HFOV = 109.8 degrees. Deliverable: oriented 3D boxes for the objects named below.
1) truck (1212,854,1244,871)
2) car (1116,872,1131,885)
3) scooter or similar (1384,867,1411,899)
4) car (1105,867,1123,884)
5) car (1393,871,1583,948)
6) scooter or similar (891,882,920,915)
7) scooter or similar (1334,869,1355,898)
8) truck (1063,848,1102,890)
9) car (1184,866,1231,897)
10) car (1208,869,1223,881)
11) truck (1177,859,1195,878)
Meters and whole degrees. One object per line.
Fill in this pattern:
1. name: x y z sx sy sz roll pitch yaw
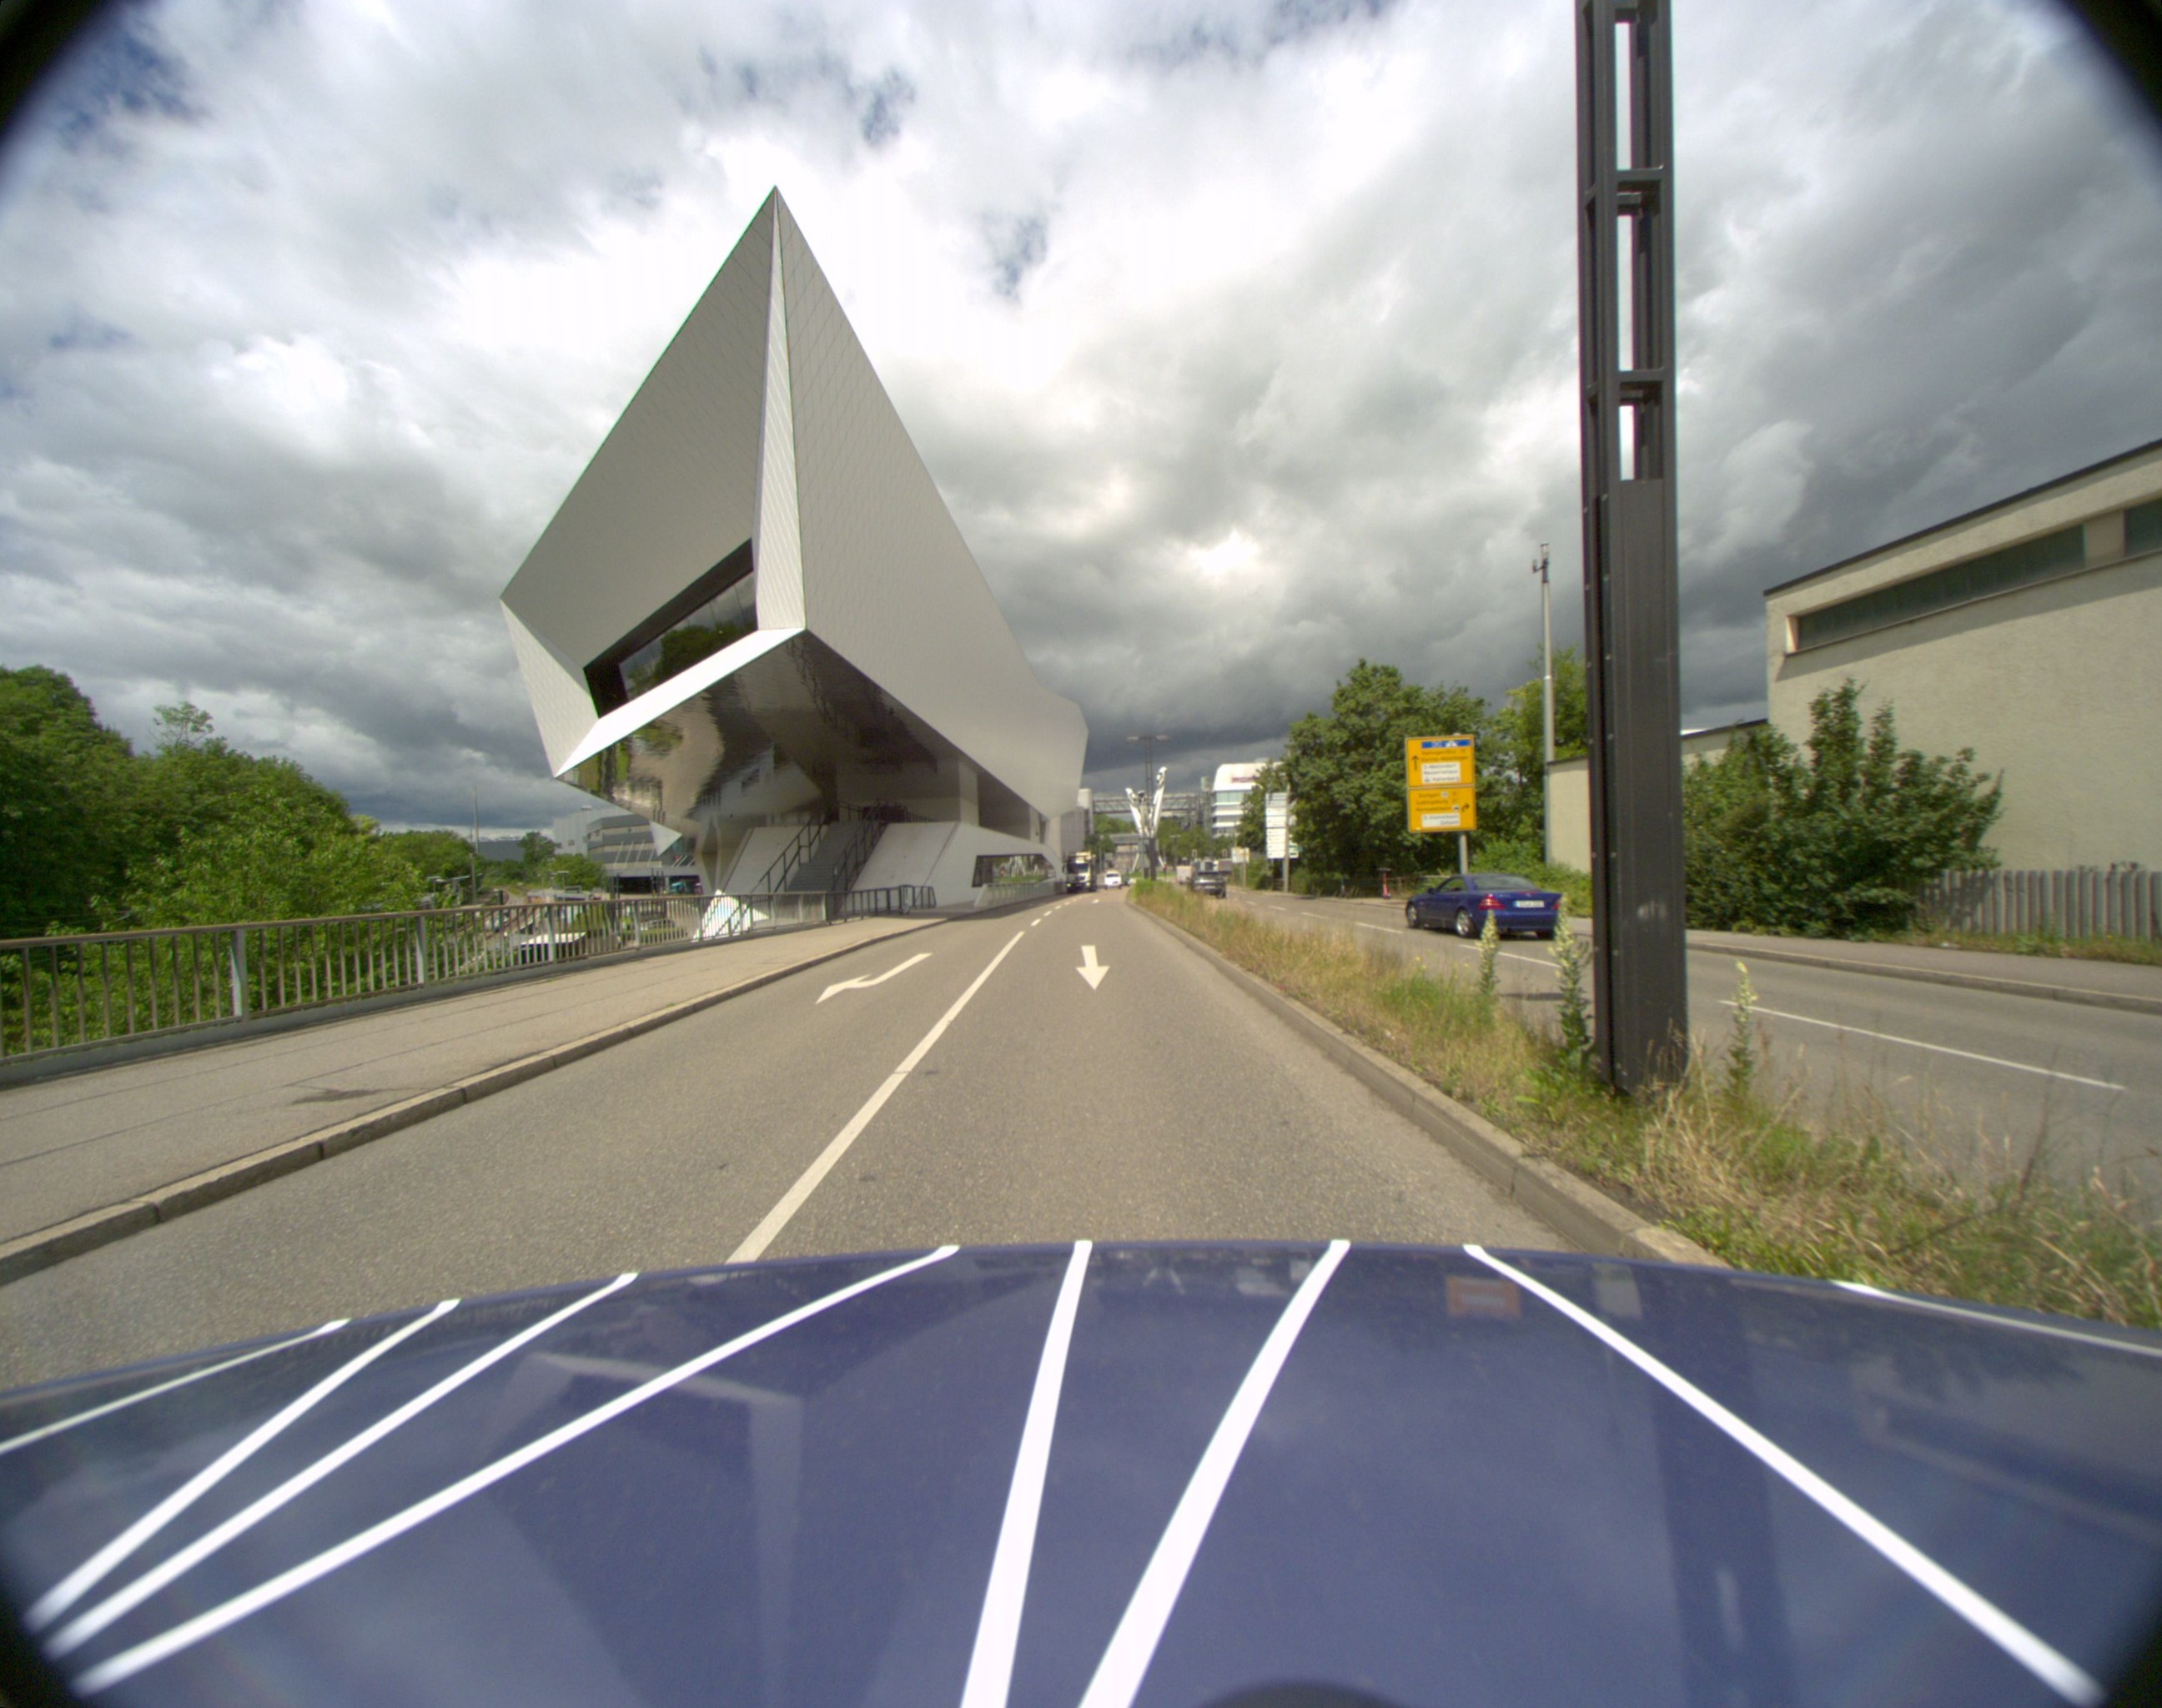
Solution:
1. truck: 34.875 2.109 180.531 2.364 3.545 8.974 -3 -2 -25
2. car: 5.894 3.382 104.739 1.817 1.662 4.245 -2 0 7
3. scooter or similar: 12.440 1.147 29.939 0.492 1.208 1.644 -2 -1 6
4. car: 3.819 2.438 87.061 1.986 1.702 4.761 -2 0 3
5. car: 8.007 1.027 15.416 1.758 1.268 4.000 0 0 1
6. scooter or similar: -6.820 1.718 29.537 0.655 1.206 1.858 -1 -1 1
7. scooter or similar: 12.242 1.346 35.313 0.492 1.296 1.644 -4 -2 6
8. truck: 0.282 1.476 74.437 2.842 3.668 10.759 -2 -1 5
9. car: 6.994 1.481 42.319 1.882 1.617 4.444 0 -1 1
10. car: 23.533 3.675 133.119 1.996 1.946 4.635 -2 -1 17
11. truck: 18.158 2.536 130.636 2.861 2.839 9.388 -2 -3 9
